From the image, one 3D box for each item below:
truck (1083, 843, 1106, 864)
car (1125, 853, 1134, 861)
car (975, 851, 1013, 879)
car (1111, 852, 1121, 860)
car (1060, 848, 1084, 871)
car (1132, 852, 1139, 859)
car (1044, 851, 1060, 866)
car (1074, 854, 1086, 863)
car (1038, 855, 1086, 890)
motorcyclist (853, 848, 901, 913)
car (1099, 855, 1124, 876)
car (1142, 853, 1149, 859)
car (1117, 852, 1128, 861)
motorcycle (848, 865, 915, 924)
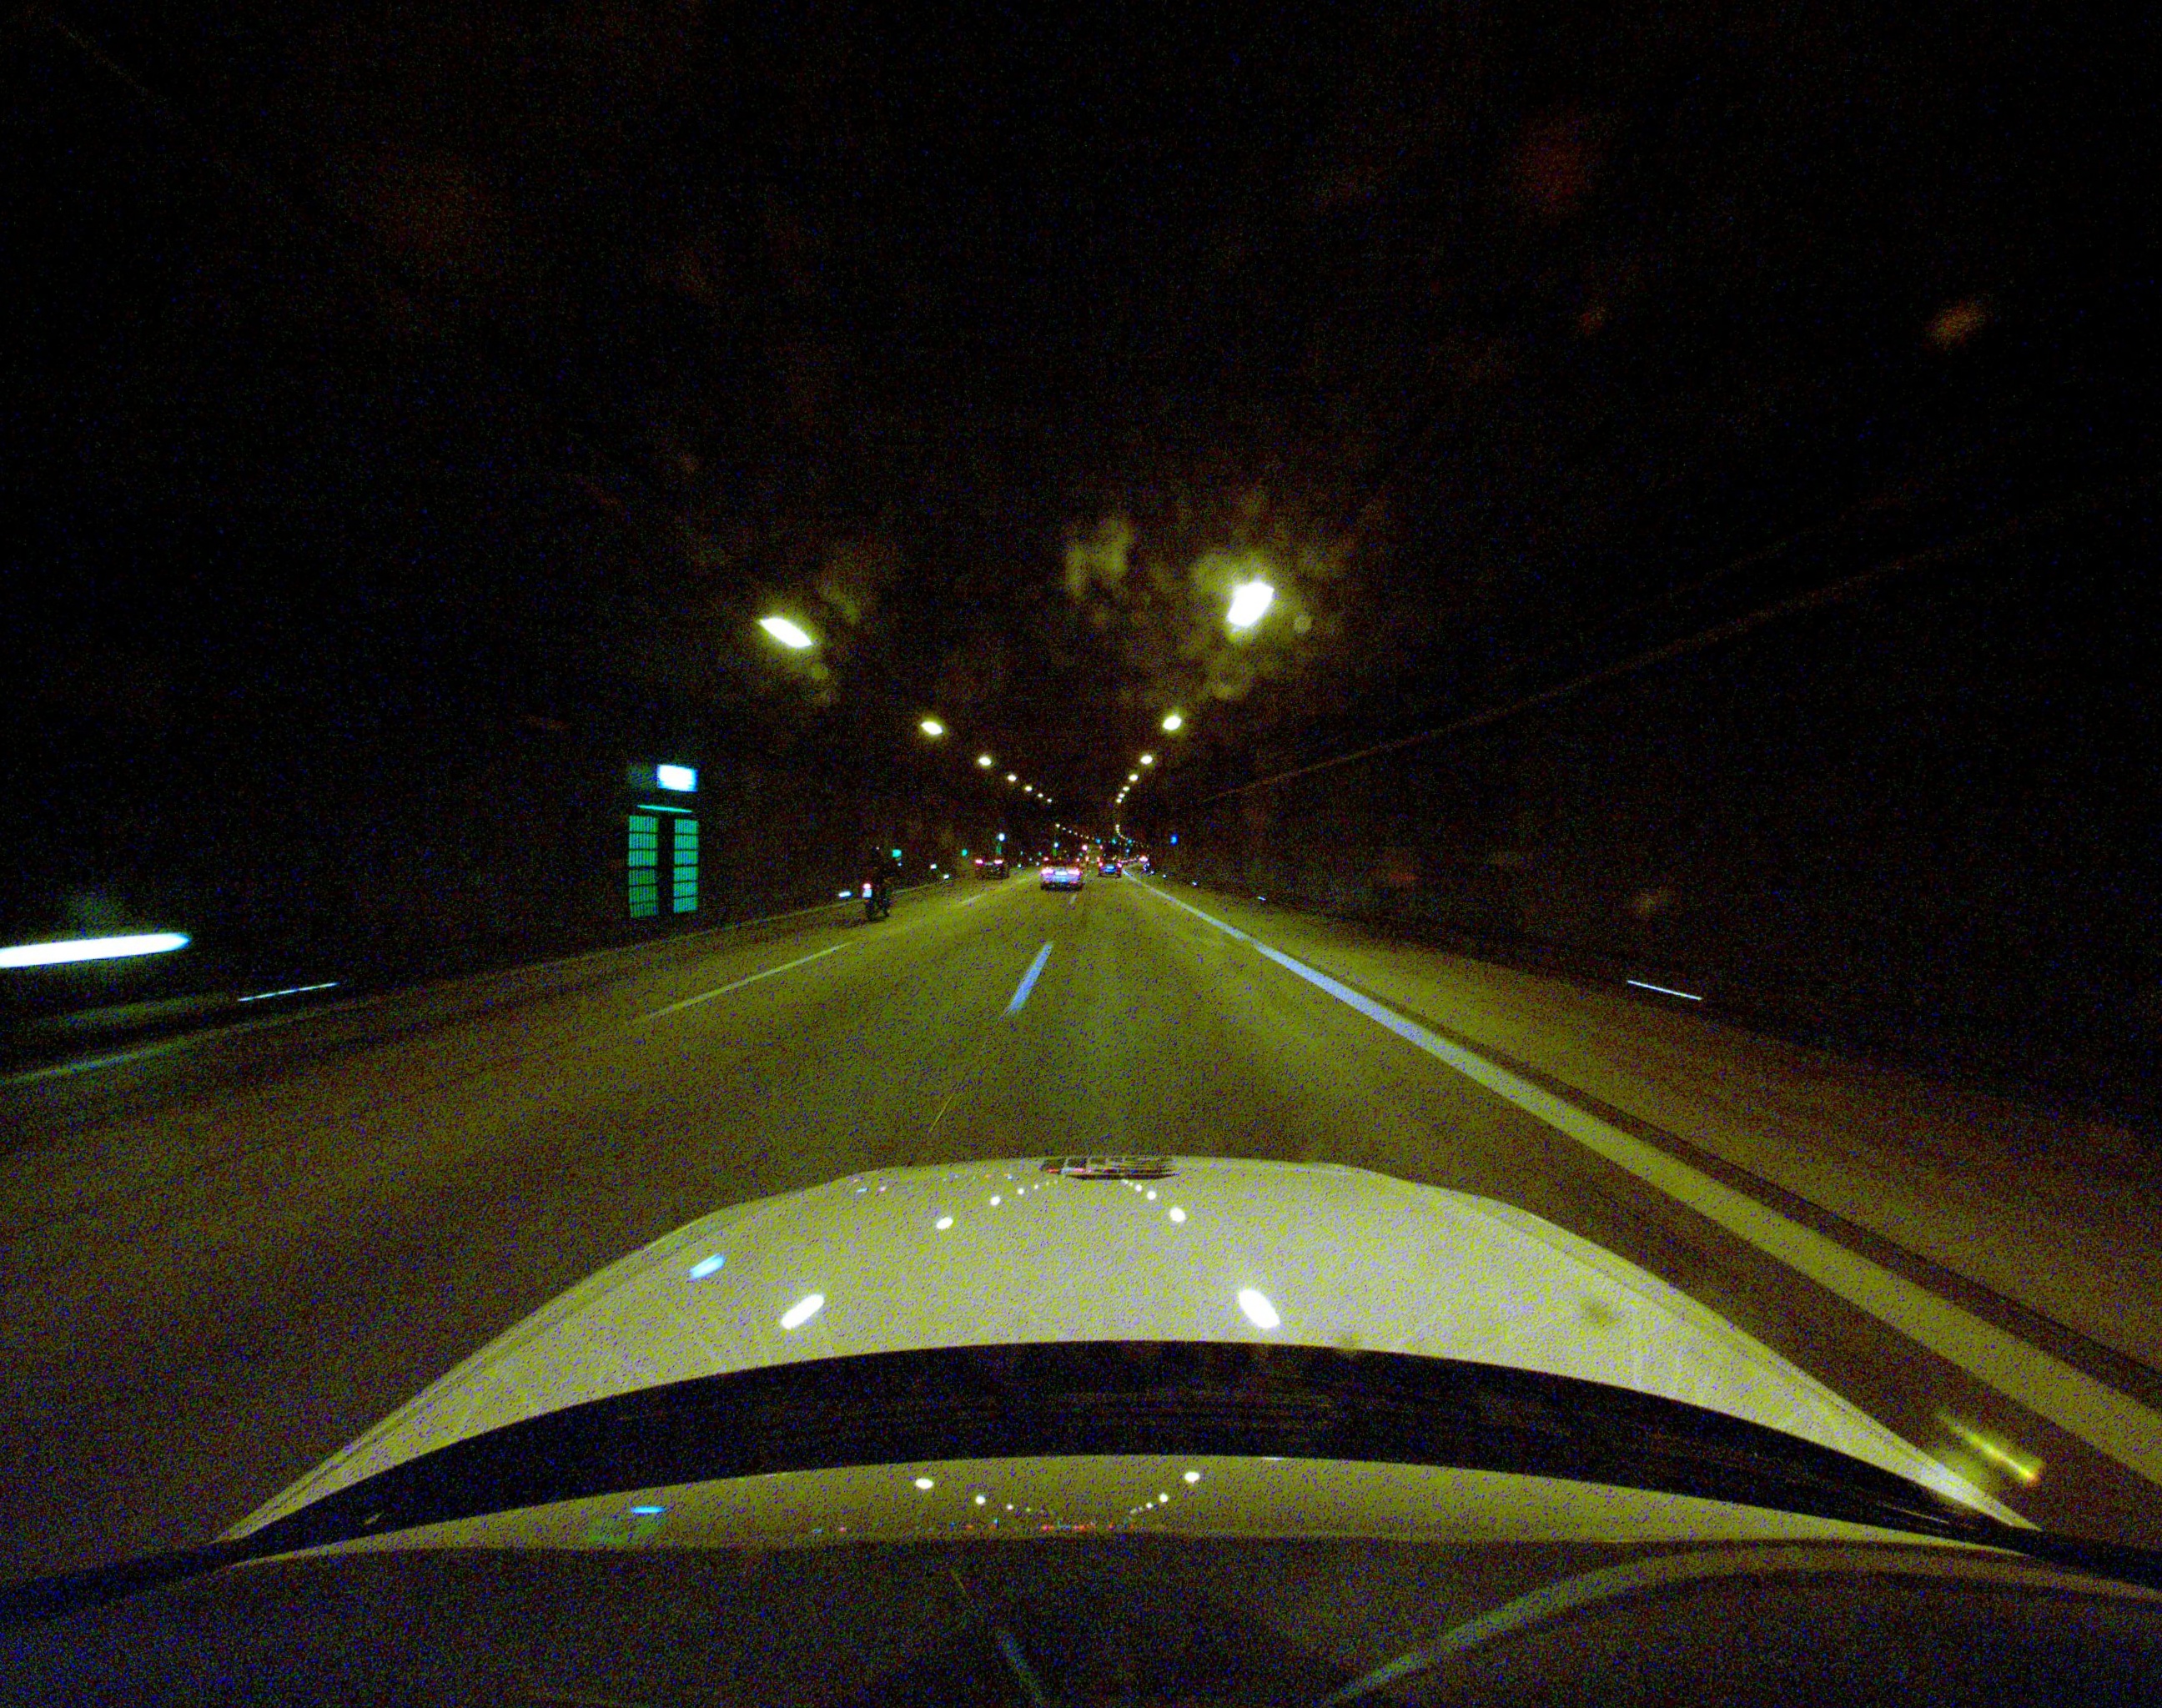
[{"bbox_3d":[2.169,-0.116,128.665,3.070,3.112,10.038,-1,1,3],"label":"truck"},{"bbox_3d":[10.348,0.569,175.264,1.851,1.666,4.003,0,0,3],"label":"car"},{"bbox_3d":[-5.297,0.630,49.731,1.779,1.598,3.802,-2,0,1],"label":"car"},{"bbox_3d":[8.050,0.538,188.301,1.987,1.754,4.000,-1,-1,1],"label":"car"},{"bbox_3d":[-0.853,0.515,77.239,1.986,1.972,4.002,-2,-1,2],"label":"car"},{"bbox_3d":[14.600,0.424,219.192,1.826,1.691,4.003,0,0,3],"label":"car"},{"bbox_3d":[-3.585,0.565,100.420,1.795,1.684,3.999,-2,0,0],"label":"car"},{"bbox_3d":[-0.156,0.815,144.879,1.835,1.603,4.004,0,0,4],"label":"car"},{"bbox_3d":[-0.808,0.795,37.110,1.986,1.483,4.000,0,0,1],"label":"car"},{"bbox_3d":[-4.816,0.608,19.270,0.836,1.477,0.822,-2,0,2],"label":"motorcyclist"},{"bbox_3d":[2.399,0.872,63.940,1.832,1.602,4.002,-2,0,2],"label":"car"},{"bbox_3d":[16.982,0.584,215.018,1.836,1.551,4.004,0,0,3],"label":"car"},{"bbox_3d":[7.477,0.434,146.192,1.836,1.568,4.004,0,0,4],"label":"car"},{"bbox_3d":[-4.779,0.933,19.705,0.842,1.245,2.606,-2,0,2],"label":"motorcycle"}]
